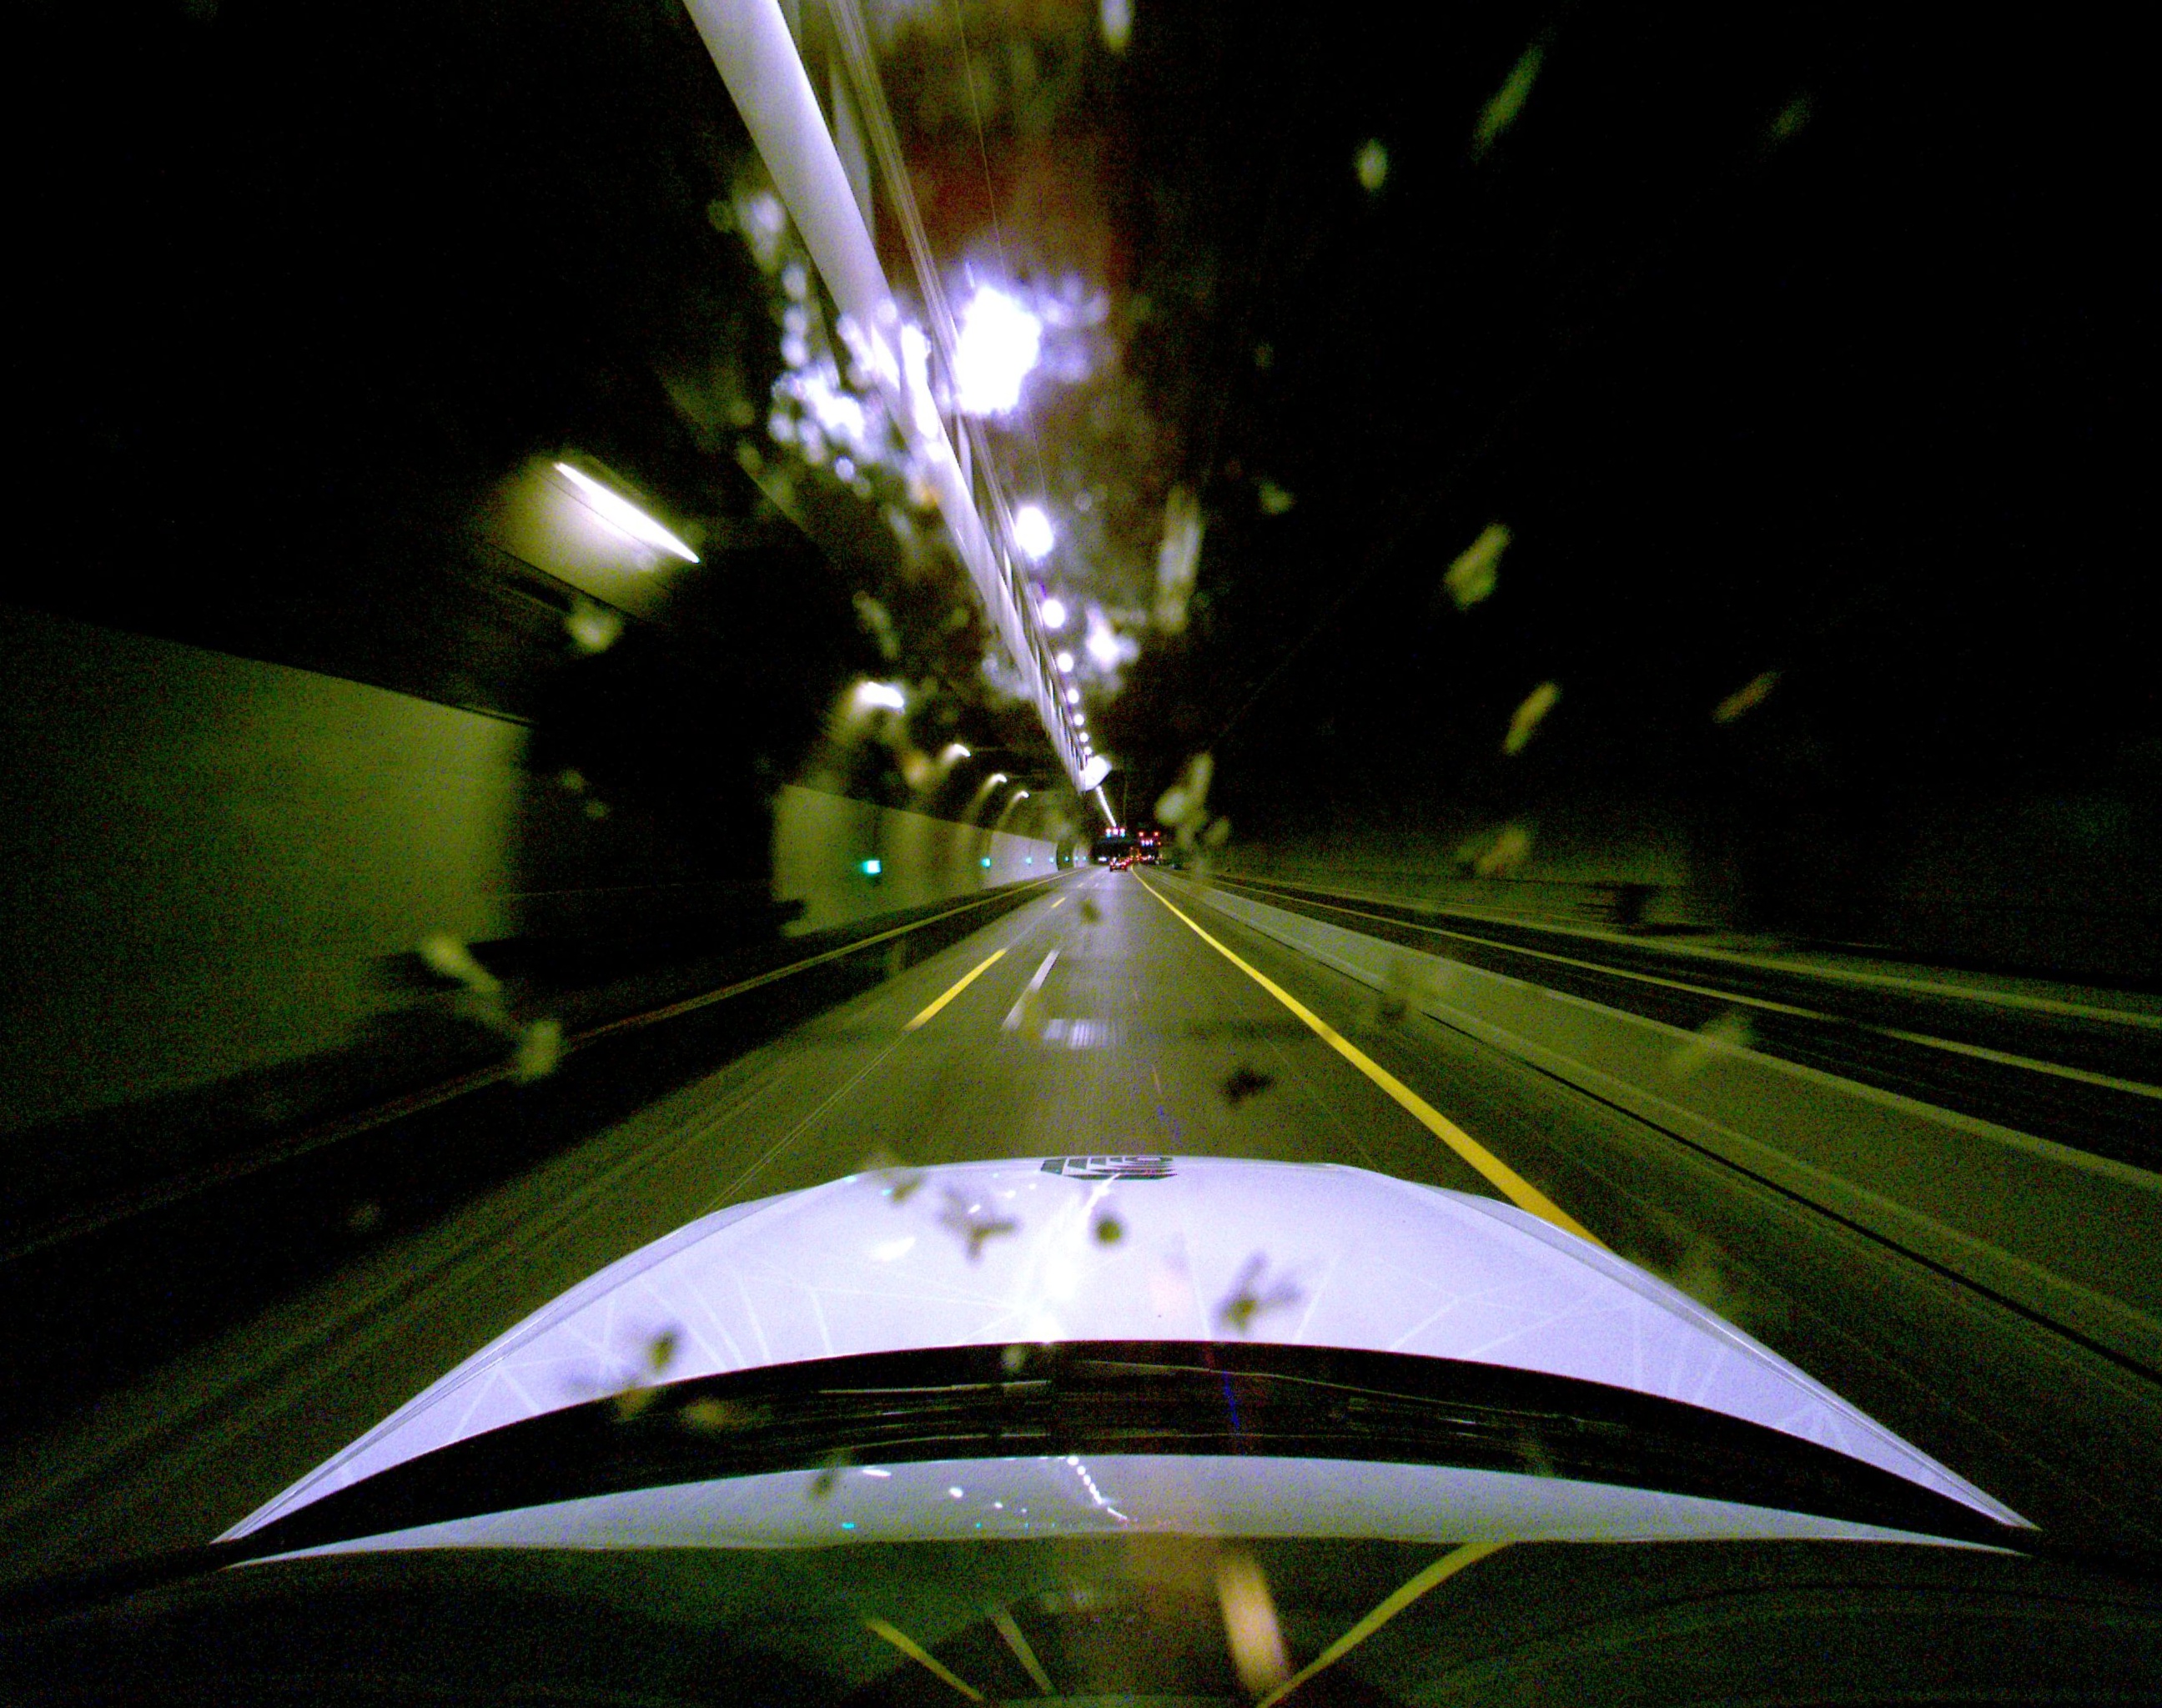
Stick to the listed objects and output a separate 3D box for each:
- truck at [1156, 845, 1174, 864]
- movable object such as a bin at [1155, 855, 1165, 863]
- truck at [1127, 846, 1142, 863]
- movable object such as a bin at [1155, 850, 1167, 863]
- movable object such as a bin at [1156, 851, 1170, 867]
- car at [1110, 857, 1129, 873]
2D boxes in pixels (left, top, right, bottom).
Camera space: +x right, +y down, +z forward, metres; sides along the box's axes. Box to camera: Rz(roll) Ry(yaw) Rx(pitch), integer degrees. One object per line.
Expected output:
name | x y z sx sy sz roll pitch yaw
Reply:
truck | 15.052 0.070 146.105 2.880 3.272 8.408 -1 -1 3
movable object such as a bin | 17.400 1.067 179.013 1.970 1.816 3.840 -1 -1 3
truck | 16.541 0.270 251.024 4.527 4.987 9.606 -1 -1 3
movable object such as a bin | 18.810 0.604 191.666 2.724 2.754 7.058 -1 -1 5
movable object such as a bin | 15.504 0.942 154.633 2.228 2.794 7.239 -1 -1 3
car | 4.121 1.195 87.667 1.881 1.607 4.000 -1 -1 0
